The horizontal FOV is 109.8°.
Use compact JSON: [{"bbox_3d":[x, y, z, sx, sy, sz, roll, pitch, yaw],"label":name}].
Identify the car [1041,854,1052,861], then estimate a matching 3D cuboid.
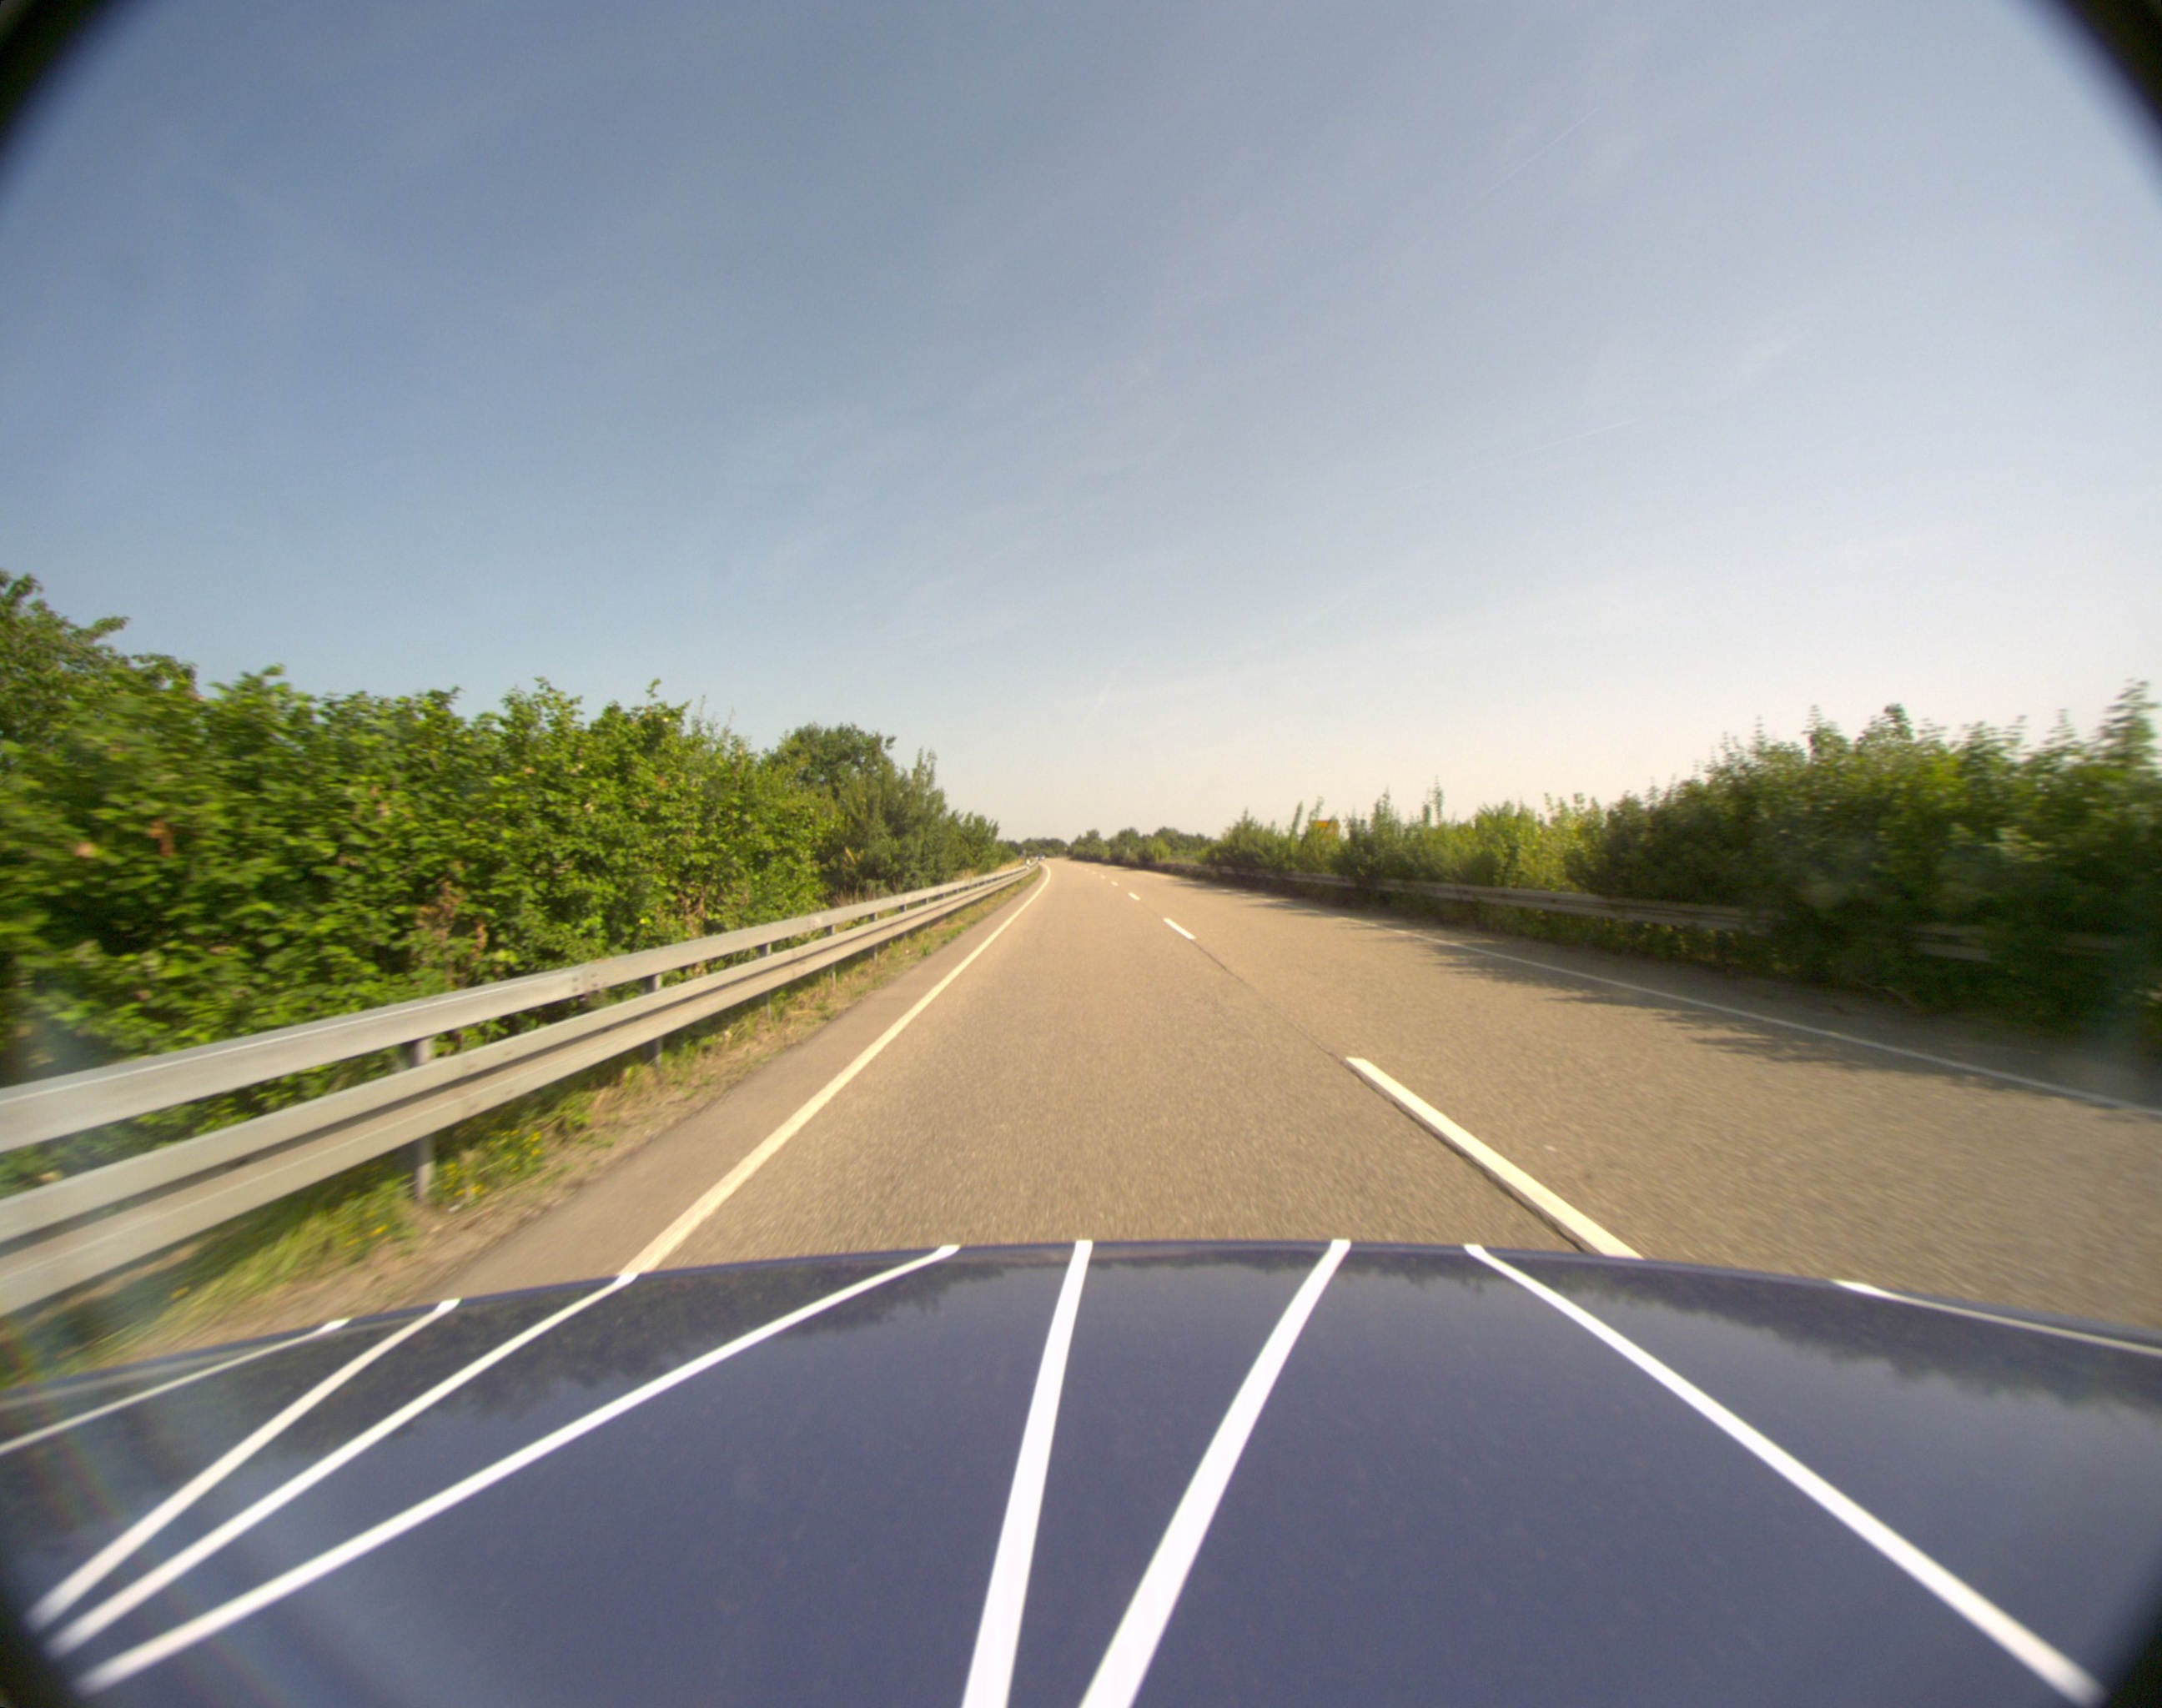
[{"bbox_3d":[-8.125,0.916,178.887,1.704,1.474,3.596,-2,-1,-13],"label":"car"}]
